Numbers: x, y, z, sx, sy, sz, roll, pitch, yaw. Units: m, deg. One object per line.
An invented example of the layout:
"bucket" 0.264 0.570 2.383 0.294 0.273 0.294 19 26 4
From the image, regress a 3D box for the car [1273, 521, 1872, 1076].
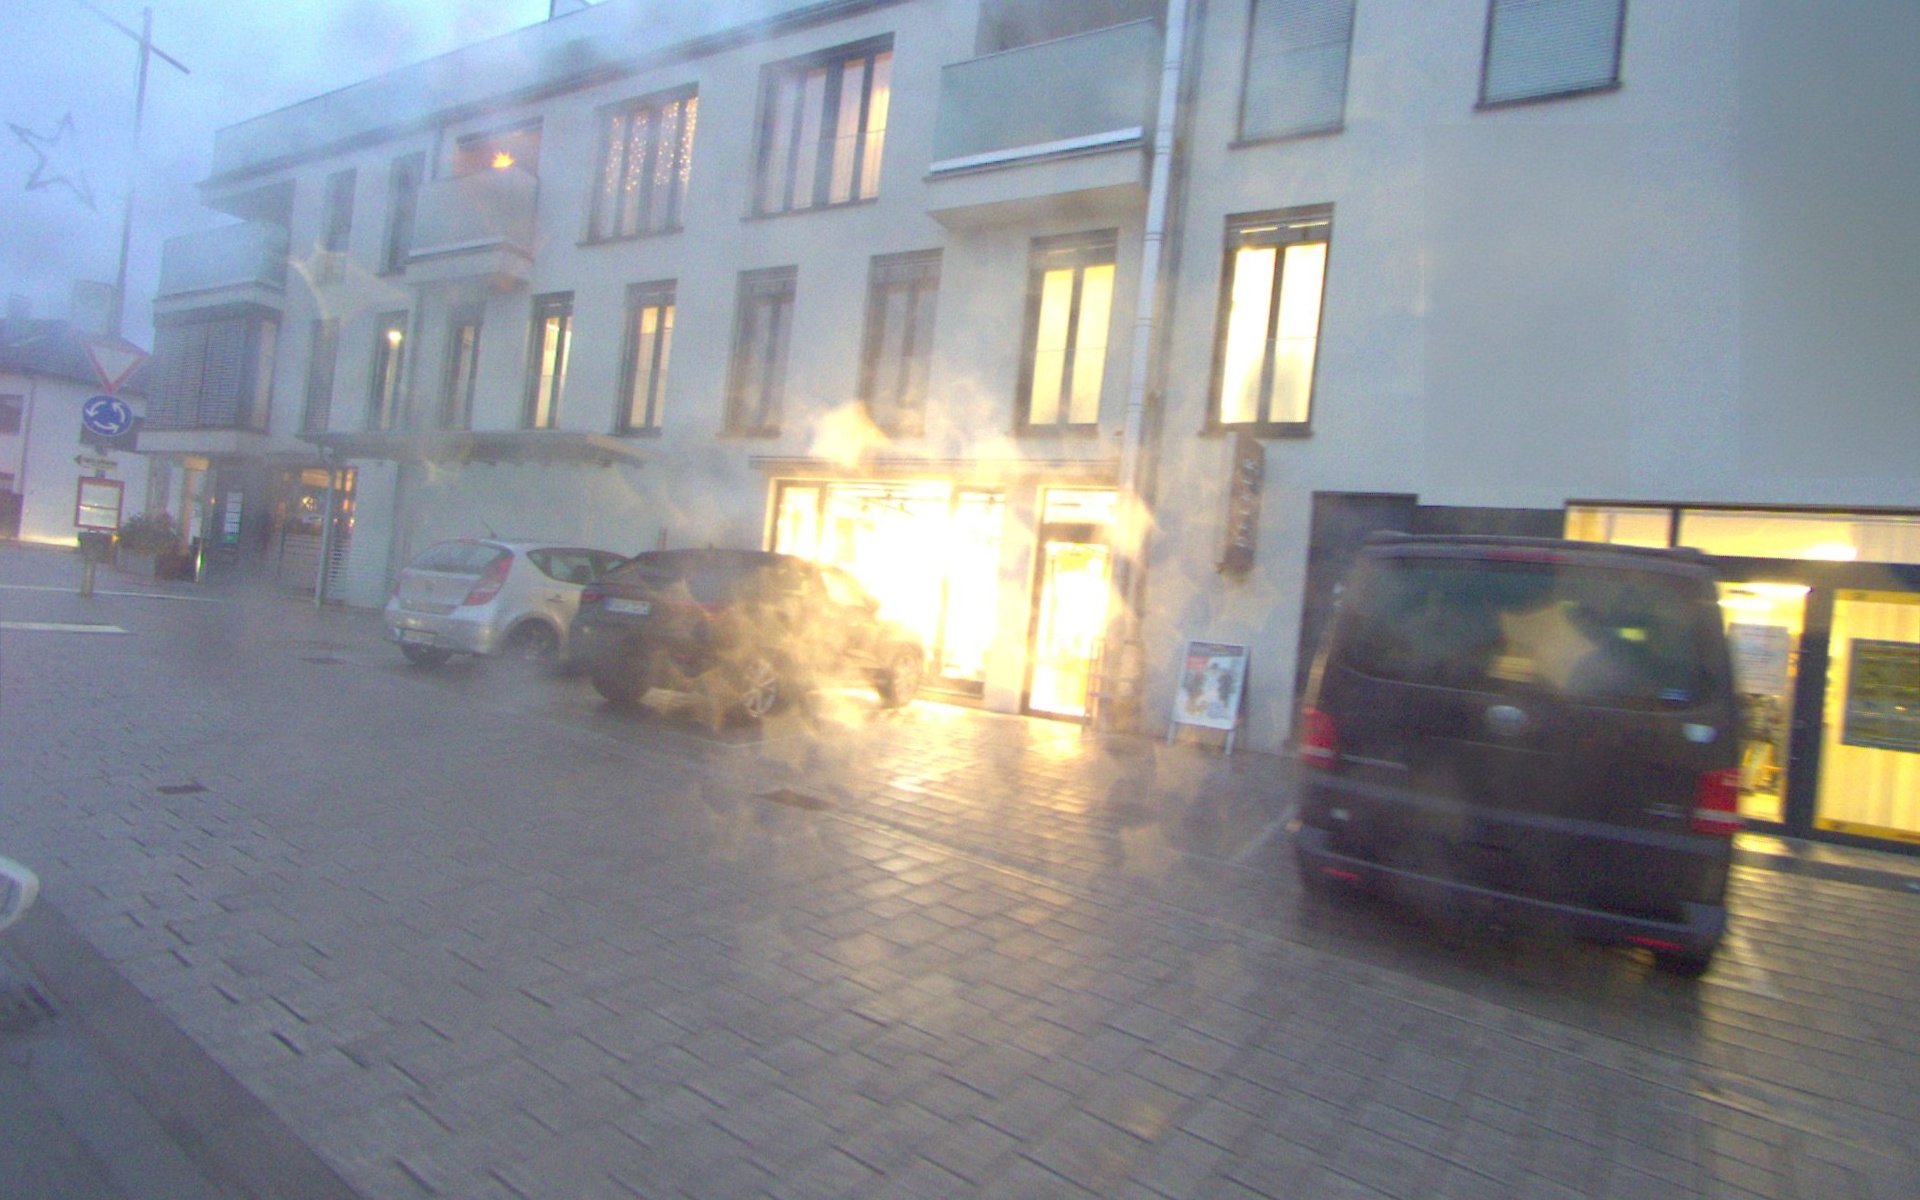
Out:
"car" 3.465 0.679 6.079 1.917 1.947 4.562 6 3 30

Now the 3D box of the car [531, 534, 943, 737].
"car" -1.948 0.322 10.177 1.761 1.479 4.212 6 1 25

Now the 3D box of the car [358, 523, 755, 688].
"car" -4.482 0.094 11.908 1.761 1.479 4.212 6 1 25
